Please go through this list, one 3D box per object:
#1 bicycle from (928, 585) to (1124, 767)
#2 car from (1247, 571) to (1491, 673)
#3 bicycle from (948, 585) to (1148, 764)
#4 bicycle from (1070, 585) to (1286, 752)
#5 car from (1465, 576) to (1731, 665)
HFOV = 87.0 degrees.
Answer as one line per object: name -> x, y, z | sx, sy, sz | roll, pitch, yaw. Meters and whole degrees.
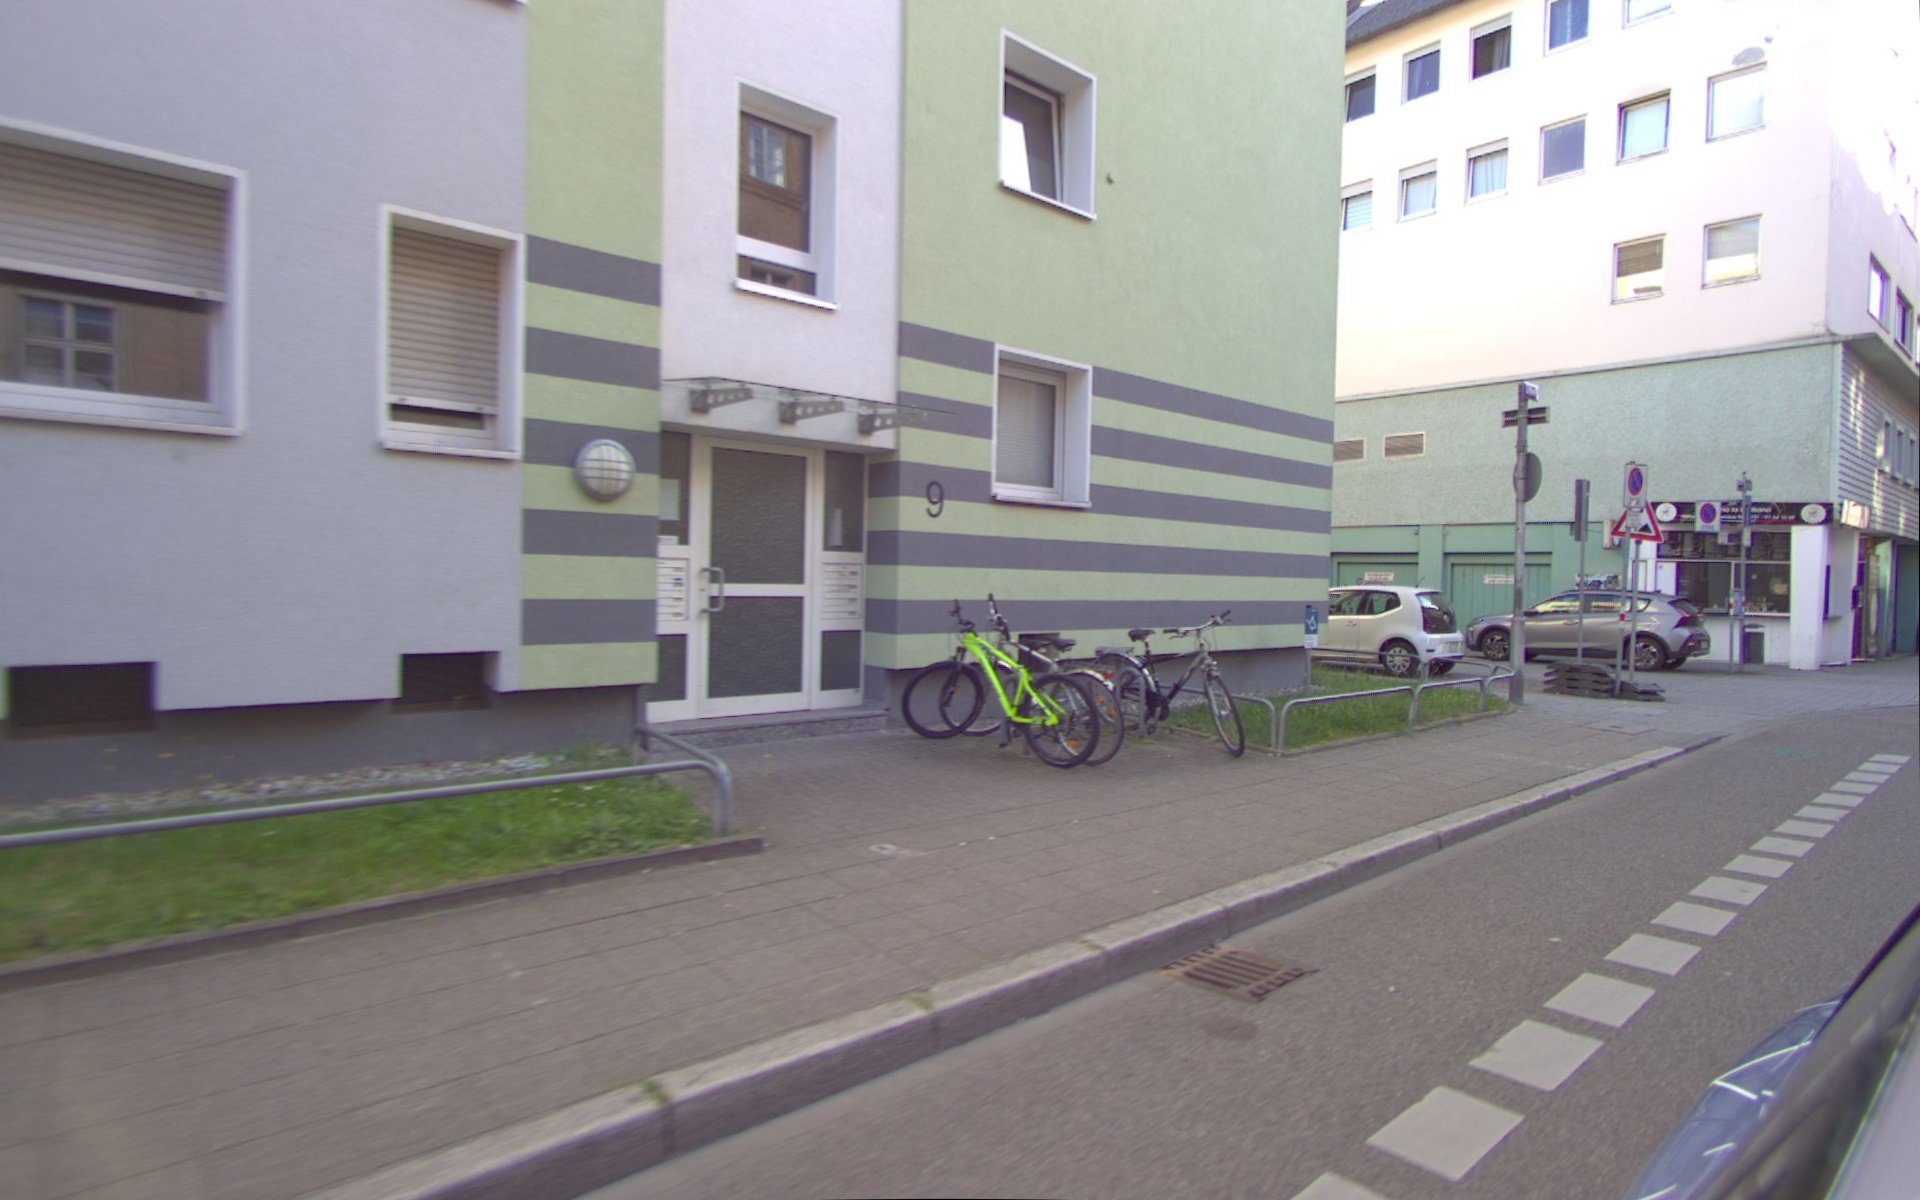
bicycle -> 0.454, 0.522, 7.643 | 1.602, 1.155, 0.234 | 6, 4, 41
car -> 7.023, 0.290, 17.619 | 1.679, 1.500, 3.553 | -1, 3, -40
bicycle -> 0.637, 0.523, 7.844 | 1.640, 1.155, 0.279 | 6, 4, 41
bicycle -> 1.788, 0.514, 8.554 | 0.542, 1.155, 1.752 | 1, 4, -41
car -> 12.491, 0.320, 20.001 | 1.833, 1.500, 4.086 | -1, 2, -41
